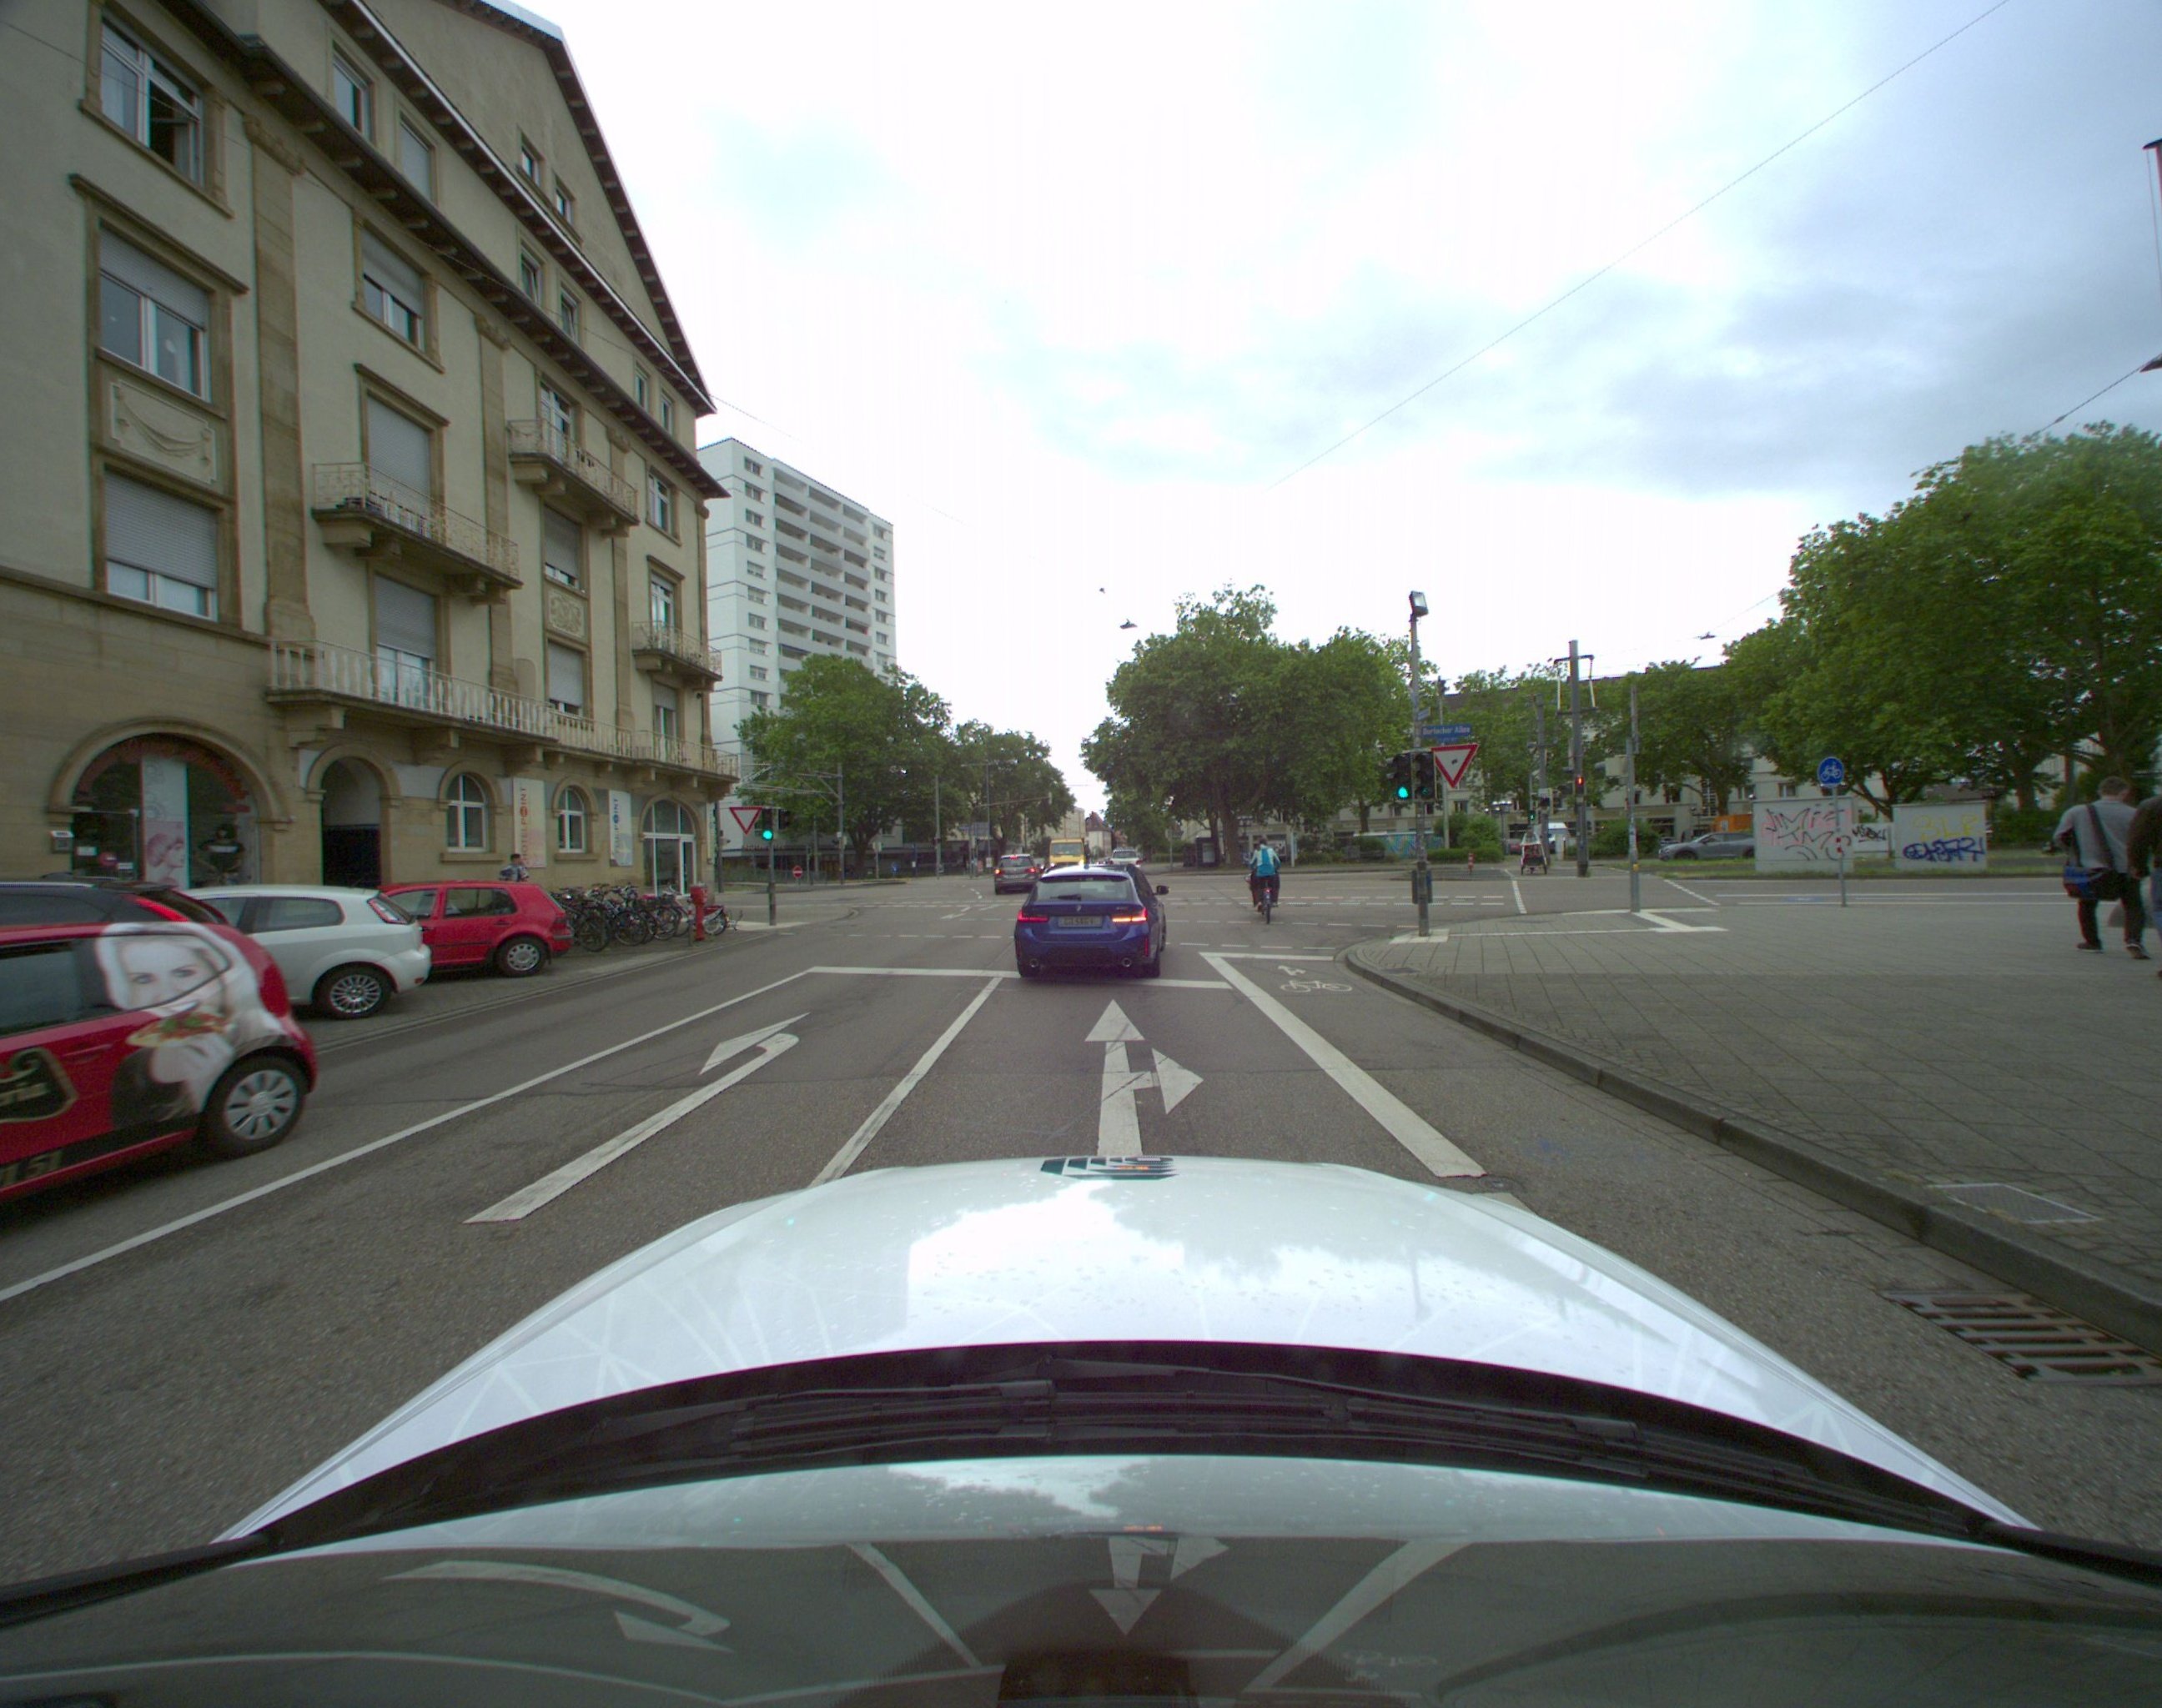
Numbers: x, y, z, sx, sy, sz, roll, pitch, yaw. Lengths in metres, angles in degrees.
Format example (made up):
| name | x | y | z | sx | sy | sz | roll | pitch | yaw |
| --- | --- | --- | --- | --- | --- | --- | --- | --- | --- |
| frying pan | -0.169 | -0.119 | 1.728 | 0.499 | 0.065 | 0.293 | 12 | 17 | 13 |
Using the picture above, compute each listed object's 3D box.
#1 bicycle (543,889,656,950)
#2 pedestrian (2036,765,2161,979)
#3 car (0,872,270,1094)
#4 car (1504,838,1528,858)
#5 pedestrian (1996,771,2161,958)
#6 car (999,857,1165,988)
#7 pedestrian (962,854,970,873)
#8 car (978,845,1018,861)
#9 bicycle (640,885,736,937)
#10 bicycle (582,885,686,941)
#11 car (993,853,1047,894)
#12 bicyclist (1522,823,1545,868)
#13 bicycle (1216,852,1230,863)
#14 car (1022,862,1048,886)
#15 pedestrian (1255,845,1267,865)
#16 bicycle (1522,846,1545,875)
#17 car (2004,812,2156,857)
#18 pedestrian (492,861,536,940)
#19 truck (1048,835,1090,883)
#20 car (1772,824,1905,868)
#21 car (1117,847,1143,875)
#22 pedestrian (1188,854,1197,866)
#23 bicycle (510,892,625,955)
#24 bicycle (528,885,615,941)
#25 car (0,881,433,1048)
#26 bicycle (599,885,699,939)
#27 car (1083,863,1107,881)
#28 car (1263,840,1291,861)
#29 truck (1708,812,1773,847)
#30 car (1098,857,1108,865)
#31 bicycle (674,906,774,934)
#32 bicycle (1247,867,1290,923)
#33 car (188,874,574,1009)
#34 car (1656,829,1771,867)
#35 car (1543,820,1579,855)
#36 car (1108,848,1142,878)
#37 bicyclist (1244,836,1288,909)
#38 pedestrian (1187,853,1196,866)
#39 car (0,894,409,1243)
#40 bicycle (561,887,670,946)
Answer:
| name | x | y | z | sx | sy | sz | roll | pitch | yaw |
| --- | --- | --- | --- | --- | --- | --- | --- | --- | --- |
| bicycle | -9.421 | 1.276 | 15.955 | 1.880 | 1.035 | 0.442 | 3 | 0 | 0 |
| pedestrian | 8.822 | 0.119 | 6.704 | 0.672 | 1.685 | 0.970 | -4 | 0 | 2 |
| car | -9.391 | 1.031 | 6.311 | 4.247 | 1.652 | 1.711 | -1 | -1 | -41 |
| car | 35.236 | -0.501 | 65.931 | 1.649 | 1.515 | 3.962 | -2 | 0 | 28 |
| pedestrian | 9.744 | 0.089 | 7.879 | 0.629 | 1.673 | 0.971 | -4 | 0 | 9 |
| car | 0.219 | 0.796 | 11.459 | 1.806 | 1.405 | 4.328 | -2 | 0 | 6 |
| pedestrian | -11.427 | 0.940 | 80.877 | 0.570 | 1.785 | 0.622 | -2 | 0 | 10 |
| car | -9.295 | -0.121 | 91.335 | 4.008 | 1.706 | 1.982 | -1 | -1 | -27 |
| bicycle | -8.833 | 1.275 | 18.319 | 1.880 | 1.035 | 0.442 | 3 | 0 | 0 |
| bicycle | -9.407 | 1.240 | 17.153 | 1.880 | 1.035 | 0.442 | 3 | 0 | 0 |
| car | -2.444 | 0.736 | 33.612 | 1.725 | 1.525 | 4.002 | -2 | 0 | 2 |
| bicyclist | 16.716 | -0.311 | 30.091 | 0.608 | 1.654 | 0.758 | -2 | 0 | 23 |
| bicycle | 15.632 | 0.413 | 89.618 | 0.771 | 1.168 | 2.347 | -3 | -1 | 27 |
| car | -4.234 | 1.815 | 74.839 | 1.913 | 2.013 | 3.938 | -2 | 0 | 2 |
| pedestrian | 15.909 | 0.085 | 72.006 | 0.781 | 1.743 | 0.925 | -2 | -1 | 1 |
| bicycle | 16.722 | 0.217 | 30.098 | 0.546 | 0.995 | 2.073 | -2 | 0 | 25 |
| car | 39.967 | -0.754 | 32.695 | 3.424 | 1.561 | 1.697 | -3 | -1 | 25 |
| pedestrian | -13.104 | 1.064 | 18.824 | 0.564 | 1.785 | 0.551 | -2 | 0 | 3 |
| truck | -0.687 | 0.237 | 45.060 | 2.069 | 2.408 | 5.459 | -3 | 0 | -1 |
| car | 33.300 | -0.332 | 35.933 | 3.901 | 1.711 | 1.697 | -3 | -1 | 25 |
| car | 3.716 | 0.483 | 62.141 | 1.808 | 2.005 | 4.002 | -2 | 0 | 2 |
| pedestrian | 12.016 | 0.636 | 88.046 | 0.850 | 1.314 | 0.763 | -2 | -1 | 2 |
| bicycle | -9.544 | 1.278 | 15.141 | 1.877 | 1.036 | 0.443 | 2 | 0 | 5 |
| bicycle | -10.899 | 1.233 | 17.492 | 0.499 | 1.027 | 1.998 | -2 | 0 | 3 |
| car | -9.665 | 1.072 | 8.874 | 4.020 | 1.472 | 1.546 | 1 | -1 | -40 |
| bicycle | -9.417 | 1.259 | 17.790 | 1.880 | 1.035 | 0.442 | 3 | 0 | 0 |
| car | 1.229 | 1.504 | 70.142 | 1.801 | 1.427 | 4.320 | -2 | 0 | 3 |
| car | 22.367 | -0.429 | 92.725 | 2.154 | 2.200 | 4.024 | -2 | 0 | 26 |
| truck | 52.502 | -1.886 | 64.919 | 2.364 | 2.591 | 4.012 | -2 | 0 | 11 |
| car | 4.510 | 1.465 | 168.390 | 1.846 | 1.453 | 4.170 | -2 | 0 | 2 |
| bicycle | -8.454 | 1.560 | 19.347 | 1.880 | 0.445 | 1.029 | 3 | 1 | 0 |
| bicycle | 4.067 | 0.857 | 17.829 | 0.492 | 1.098 | 2.140 | -2 | 0 | 2 |
| car | -9.839 | 1.093 | 11.723 | 1.663 | 1.472 | 4.024 | 0 | 0 | 43 |
| car | 29.455 | -0.280 | 38.084 | 3.940 | 1.561 | 1.697 | -3 | -1 | 25 |
| car | 38.596 | -1.298 | 65.577 | 2.214 | 2.639 | 5.481 | -2 | 0 | 28 |
| car | 2.506 | 0.476 | 46.595 | 1.808 | 1.592 | 4.002 | -2 | 0 | 2 |
| bicyclist | 3.995 | 0.386 | 17.655 | 0.683 | 1.517 | 1.059 | -2 | 0 | 2 |
| pedestrian | 12.076 | 0.611 | 89.159 | 0.814 | 1.372 | 0.763 | -2 | -1 | 2 |
| car | -5.628 | 1.037 | 3.973 | 1.643 | 1.447 | 3.513 | -2 | 0 | 2 |
| bicycle | -9.415 | 1.260 | 16.491 | 1.880 | 1.035 | 0.442 | 3 | 0 | 0 |
